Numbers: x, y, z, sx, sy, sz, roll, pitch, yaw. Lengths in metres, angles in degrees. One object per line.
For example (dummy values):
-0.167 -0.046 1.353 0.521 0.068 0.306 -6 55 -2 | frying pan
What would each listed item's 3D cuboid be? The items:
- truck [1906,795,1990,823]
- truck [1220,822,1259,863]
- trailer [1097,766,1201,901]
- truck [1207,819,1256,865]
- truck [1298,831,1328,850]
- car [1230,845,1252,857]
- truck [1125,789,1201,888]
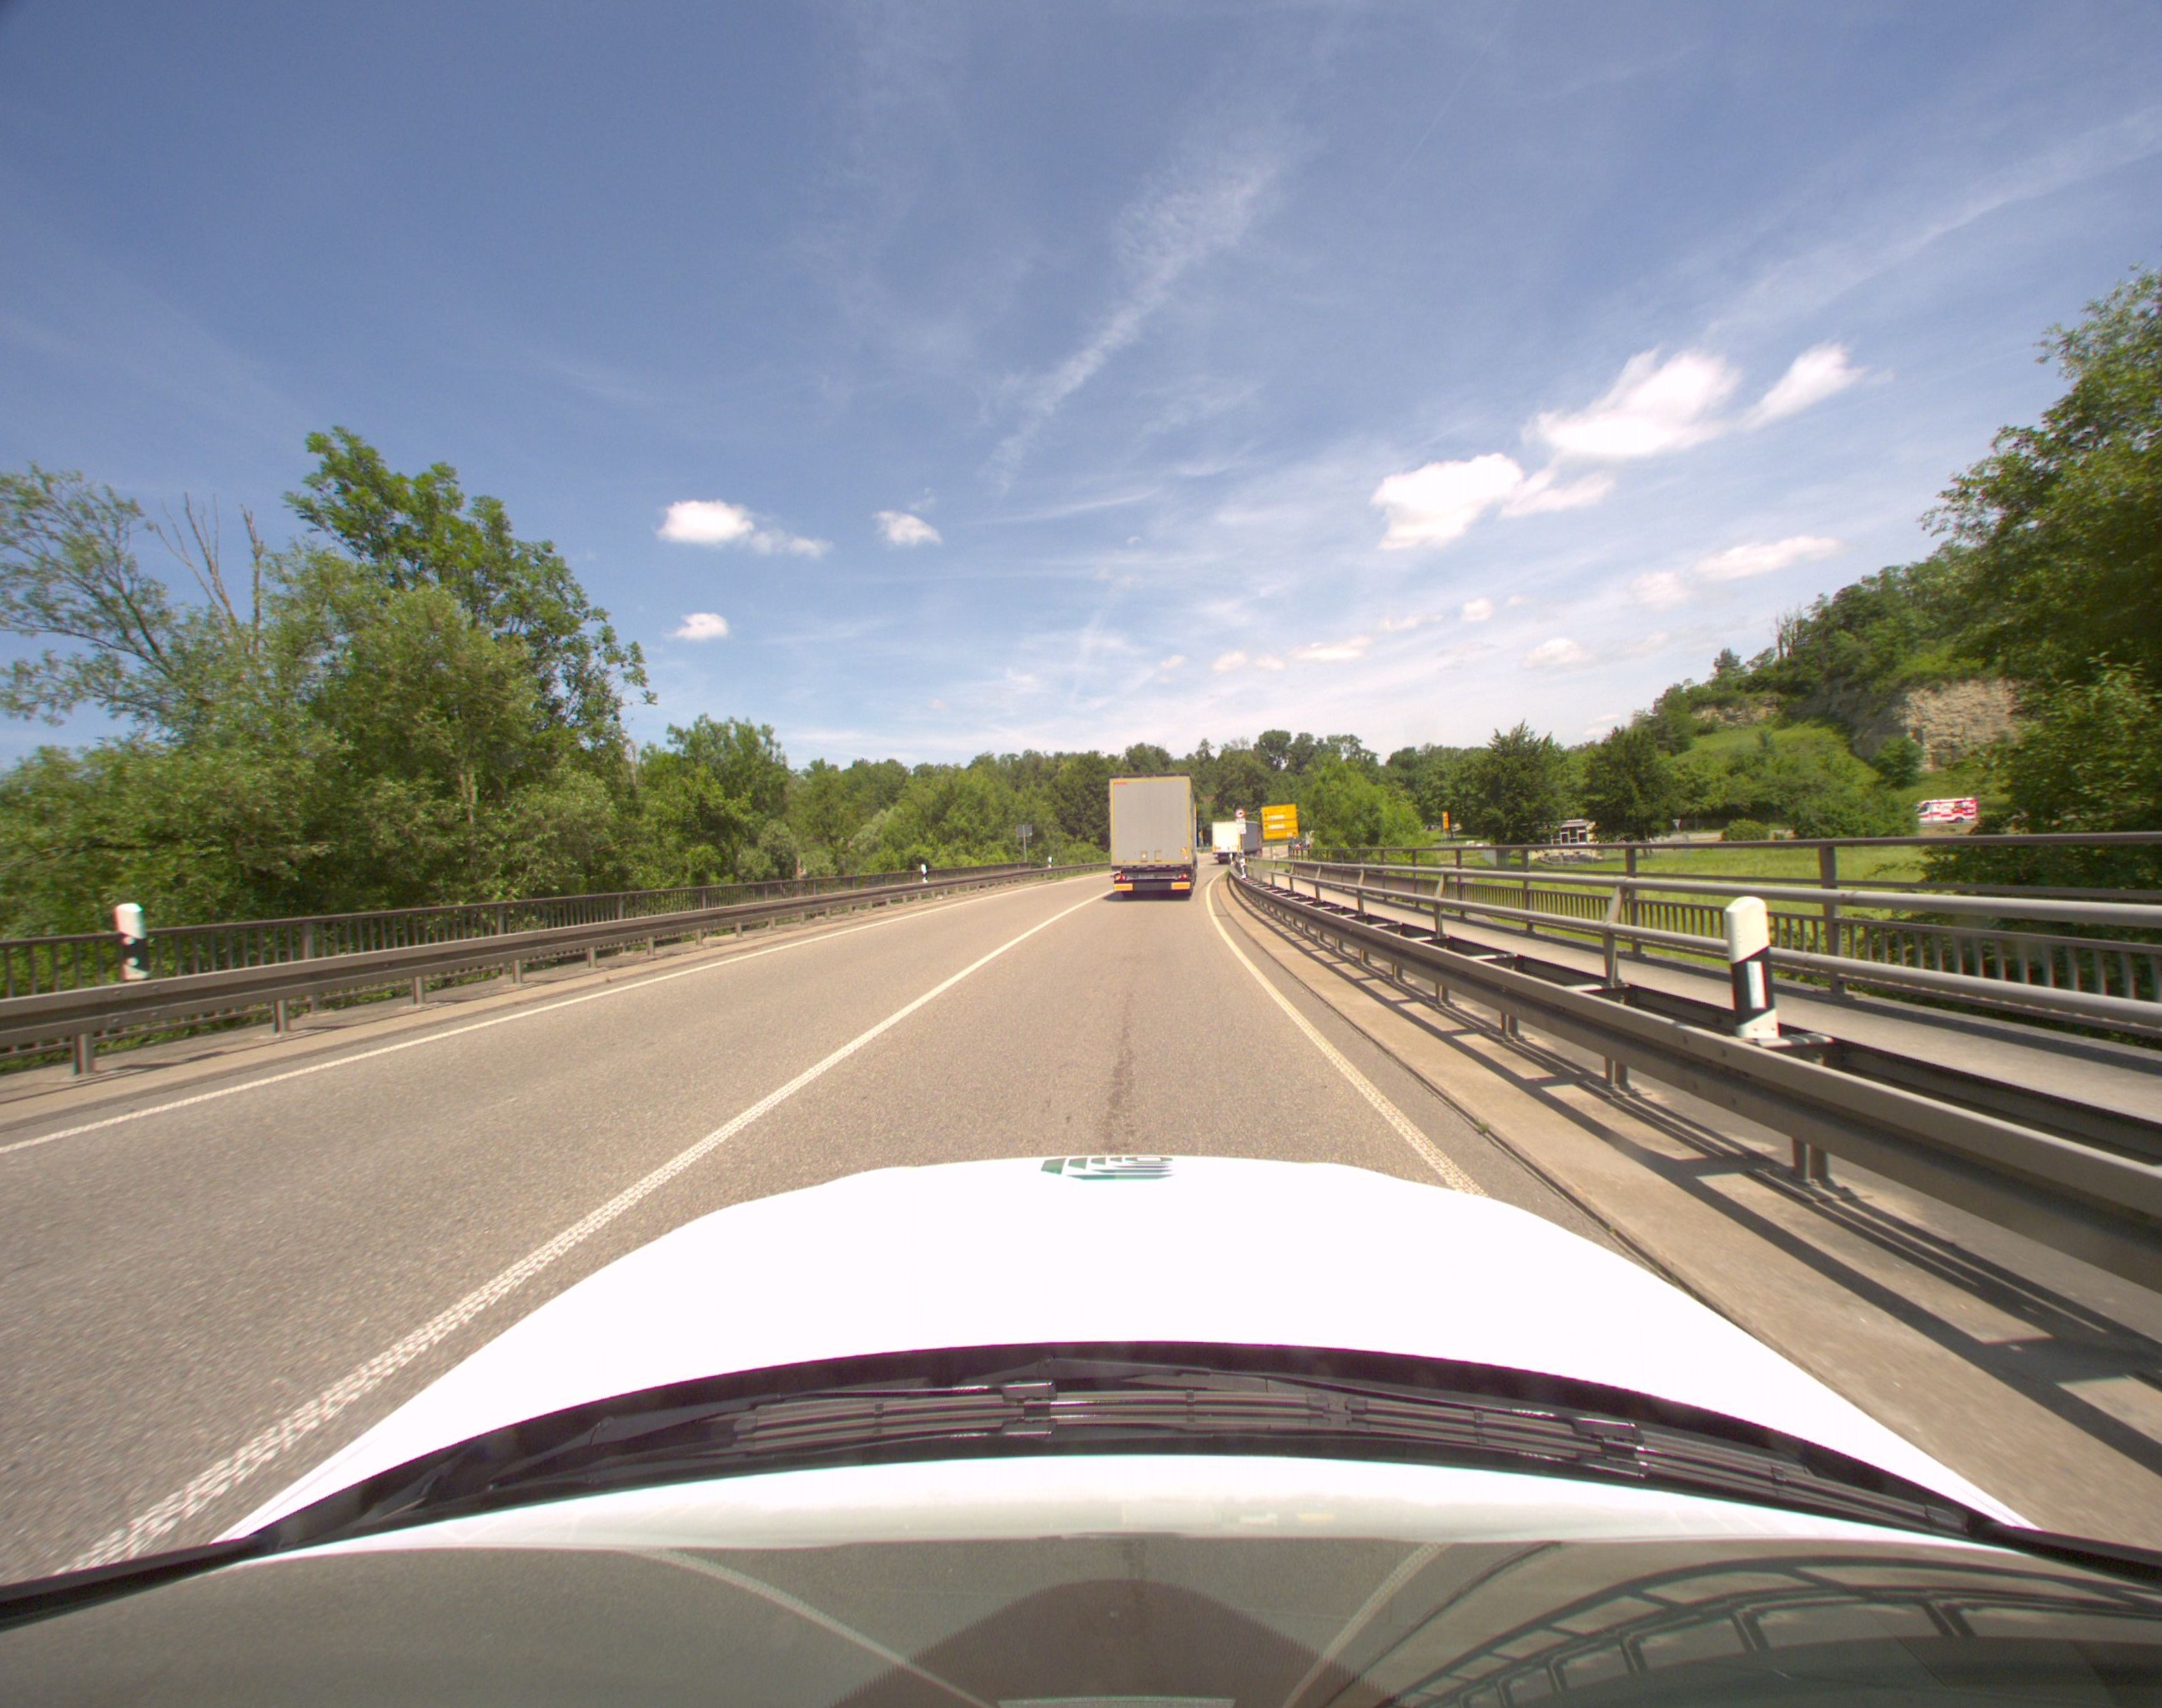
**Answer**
96.760 -4.971 90.980 5.952 2.728 2.517 -1 -1 33 | truck
16.519 -1.131 84.524 3.144 4.004 5.842 -2 0 18 | truck
2.967 -0.638 31.040 3.034 4.033 12.588 -2 0 8 | trailer
14.754 -1.096 79.046 3.154 4.029 11.799 -2 0 18 | truck
37.342 -2.225 130.892 2.828 2.947 7.150 -1 1 32 | truck
20.395 -0.387 103.659 1.976 1.519 4.022 -1 -1 23 | car
3.896 -0.667 37.256 3.021 4.034 6.645 -2 0 8 | truck
